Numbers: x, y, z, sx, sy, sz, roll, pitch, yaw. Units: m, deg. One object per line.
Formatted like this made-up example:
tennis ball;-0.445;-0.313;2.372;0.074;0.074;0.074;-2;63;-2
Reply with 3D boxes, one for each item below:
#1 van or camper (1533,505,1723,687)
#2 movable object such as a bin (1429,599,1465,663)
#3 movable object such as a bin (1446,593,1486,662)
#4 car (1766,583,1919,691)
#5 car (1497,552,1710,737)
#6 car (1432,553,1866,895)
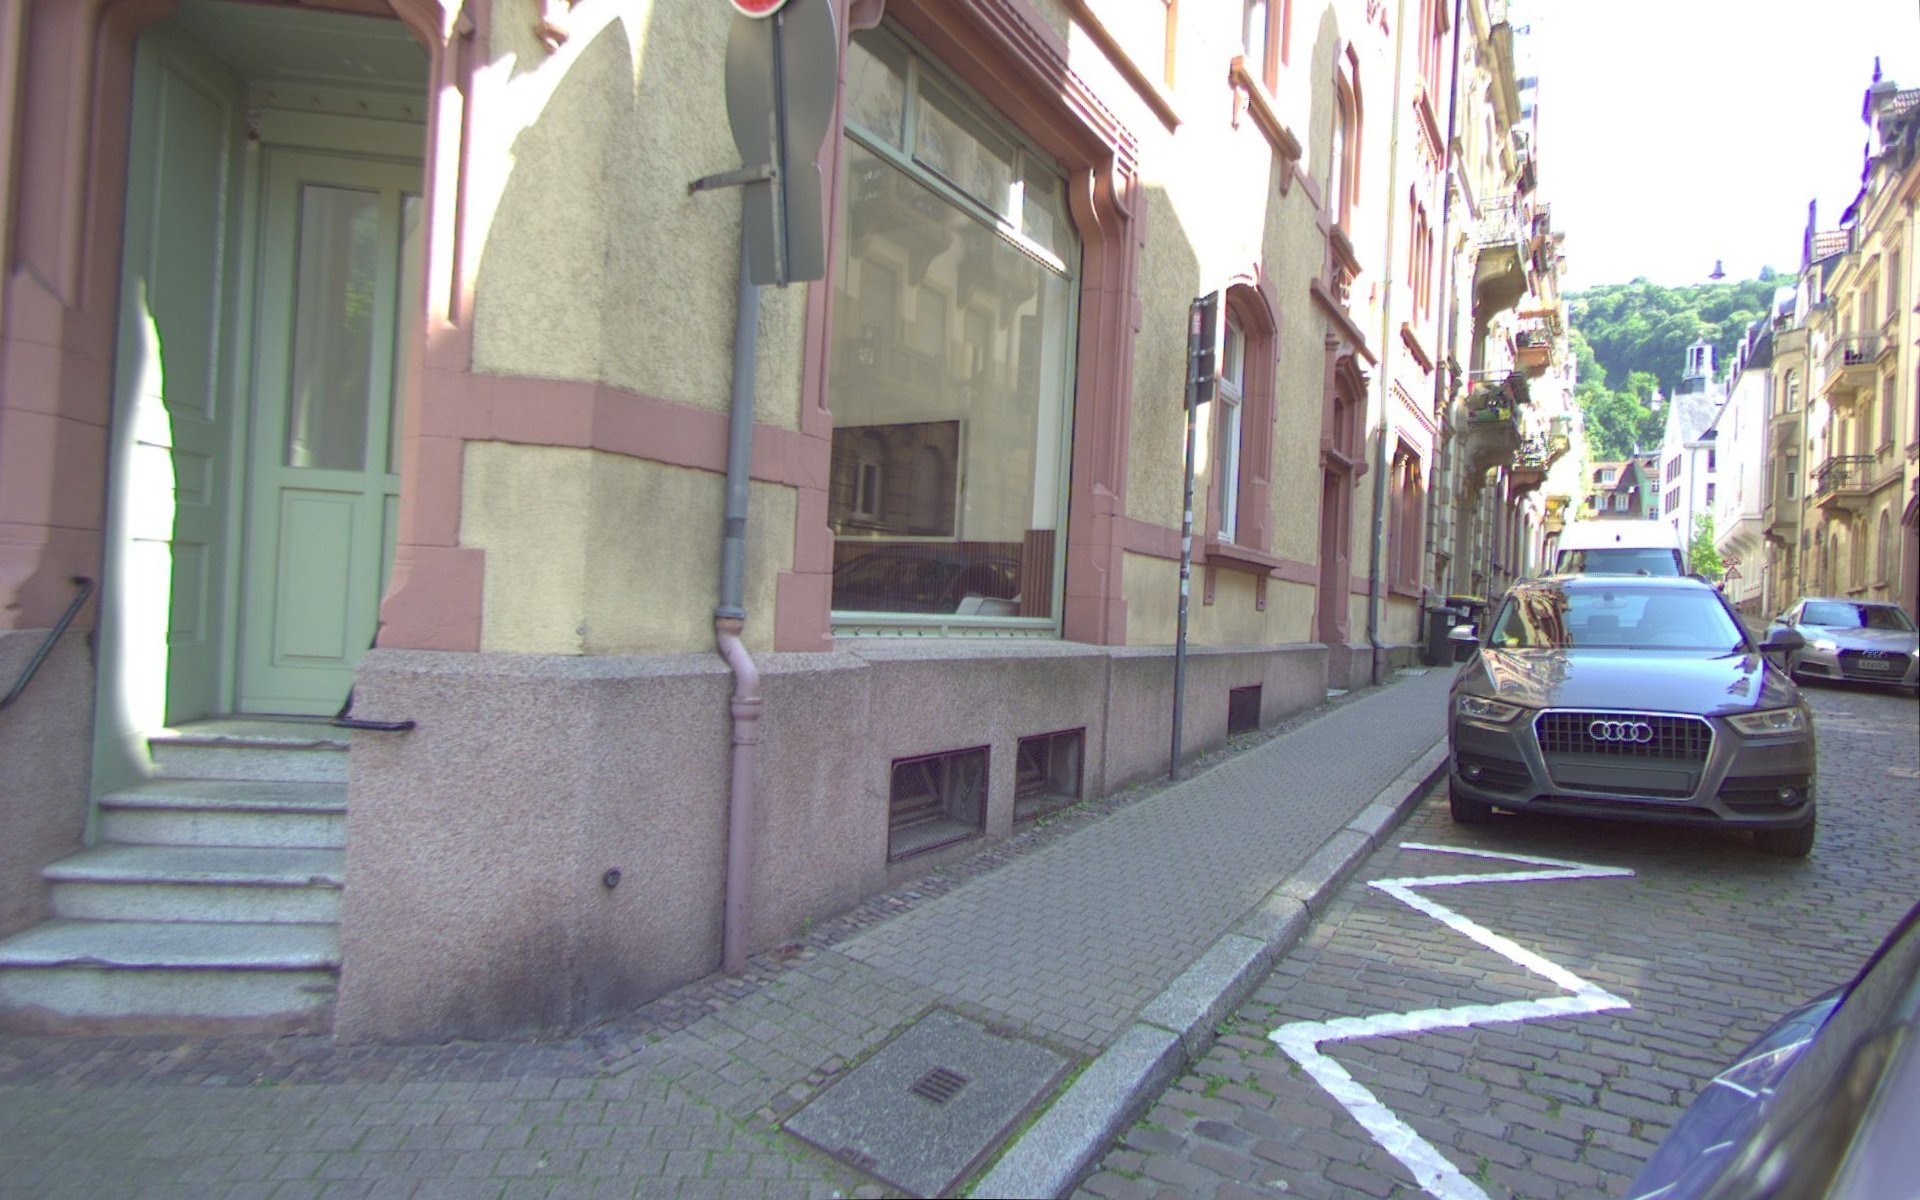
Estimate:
van or camper;11.475;-0.174;17.609;2.211;2.551;6.691;3;3;32
movable object such as a bin;7.640;0.478;15.886;0.437;0.969;0.345;2;-1;34
movable object such as a bin;8.400;0.451;16.803;0.514;1.103;0.416;2;-1;34
car;14.702;0.536;16.638;1.865;1.511;4.330;3;1;34
car;7.343;0.387;11.580;1.749;1.727;3.952;0;1;33
car;4.573;0.549;7.039;1.848;1.603;4.212;1;1;32
